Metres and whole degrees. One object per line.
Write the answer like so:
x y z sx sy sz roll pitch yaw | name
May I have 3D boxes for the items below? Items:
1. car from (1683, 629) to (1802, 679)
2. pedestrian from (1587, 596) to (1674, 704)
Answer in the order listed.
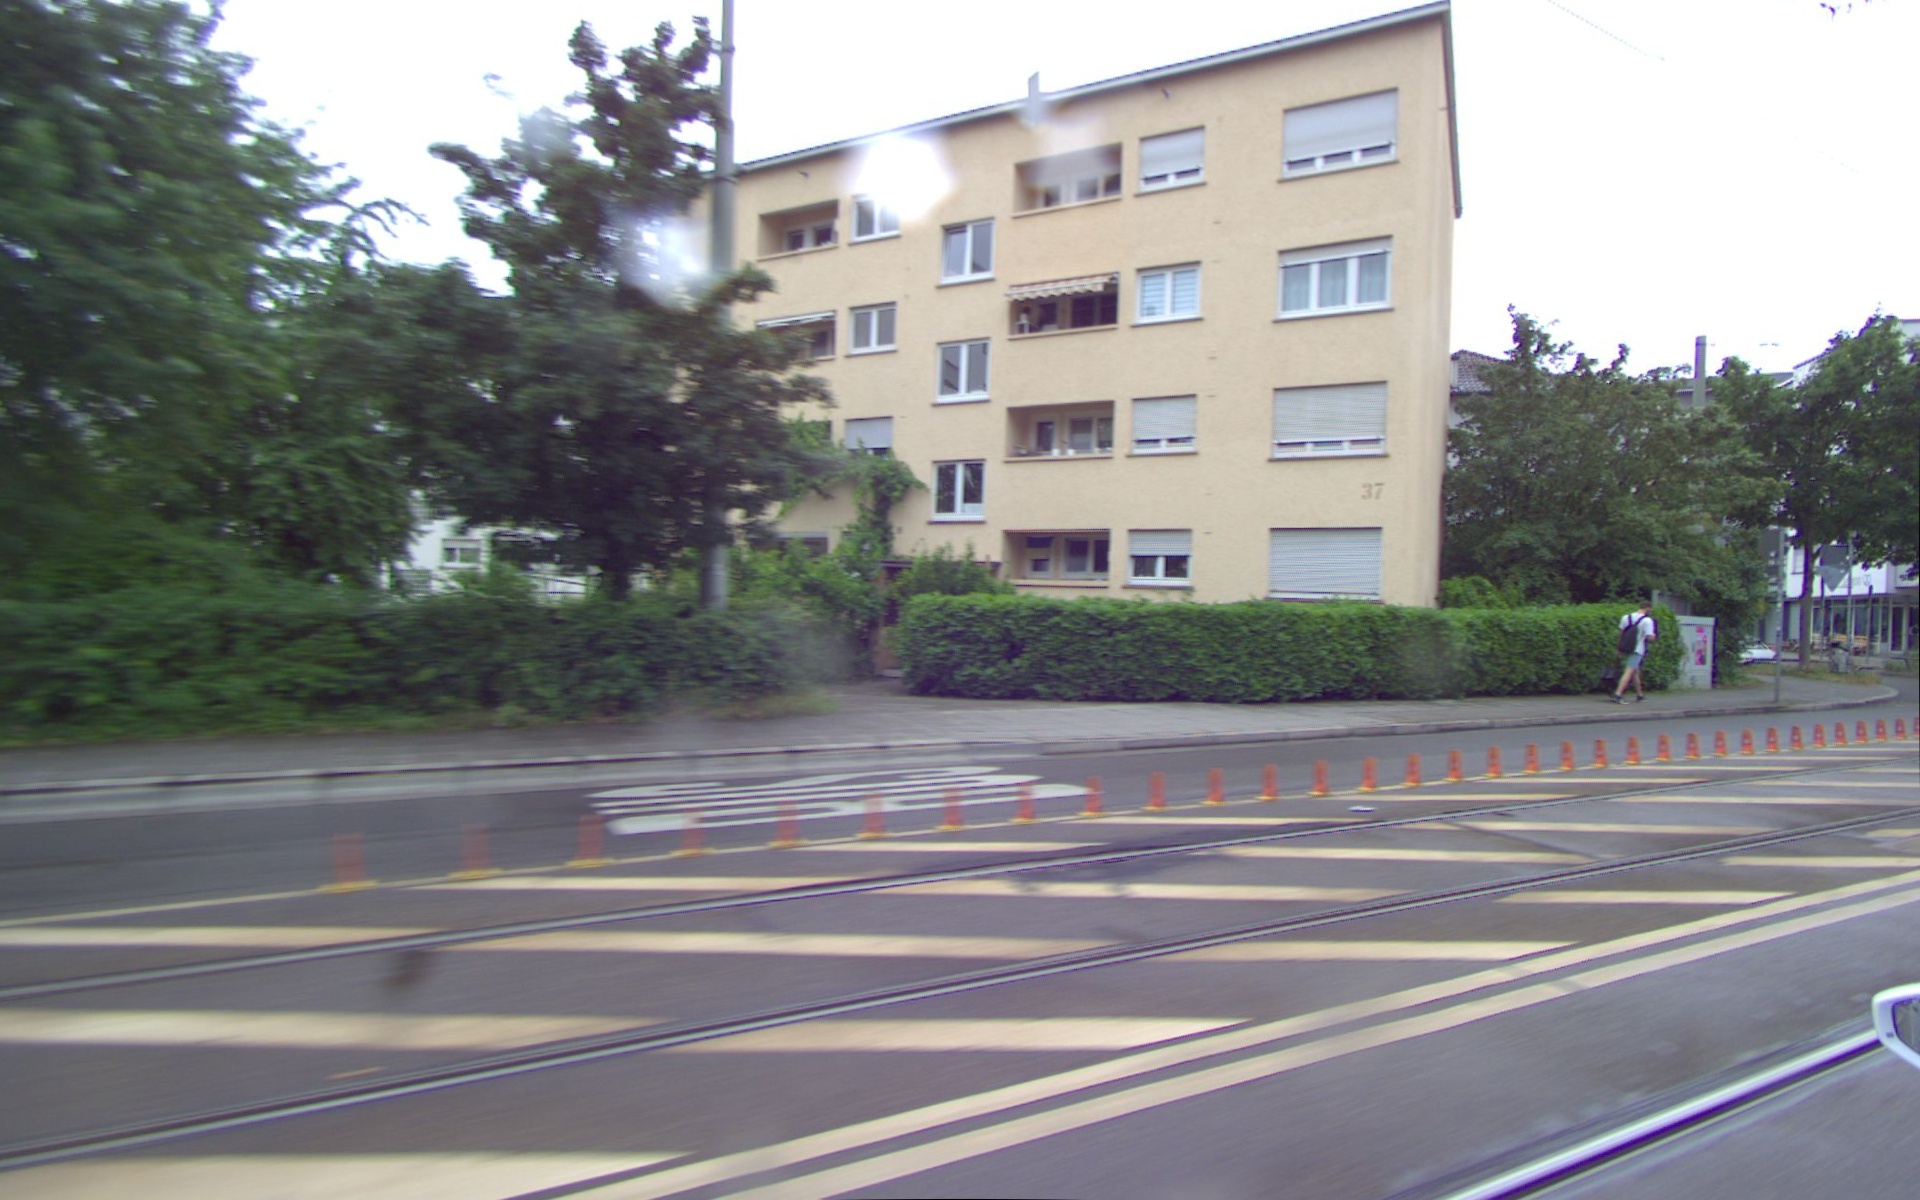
27.792 1.859 35.845 1.960 1.500 4.161 3 0 18 | car
12.213 0.892 18.306 1.006 1.870 0.913 2 1 -33 | pedestrian
